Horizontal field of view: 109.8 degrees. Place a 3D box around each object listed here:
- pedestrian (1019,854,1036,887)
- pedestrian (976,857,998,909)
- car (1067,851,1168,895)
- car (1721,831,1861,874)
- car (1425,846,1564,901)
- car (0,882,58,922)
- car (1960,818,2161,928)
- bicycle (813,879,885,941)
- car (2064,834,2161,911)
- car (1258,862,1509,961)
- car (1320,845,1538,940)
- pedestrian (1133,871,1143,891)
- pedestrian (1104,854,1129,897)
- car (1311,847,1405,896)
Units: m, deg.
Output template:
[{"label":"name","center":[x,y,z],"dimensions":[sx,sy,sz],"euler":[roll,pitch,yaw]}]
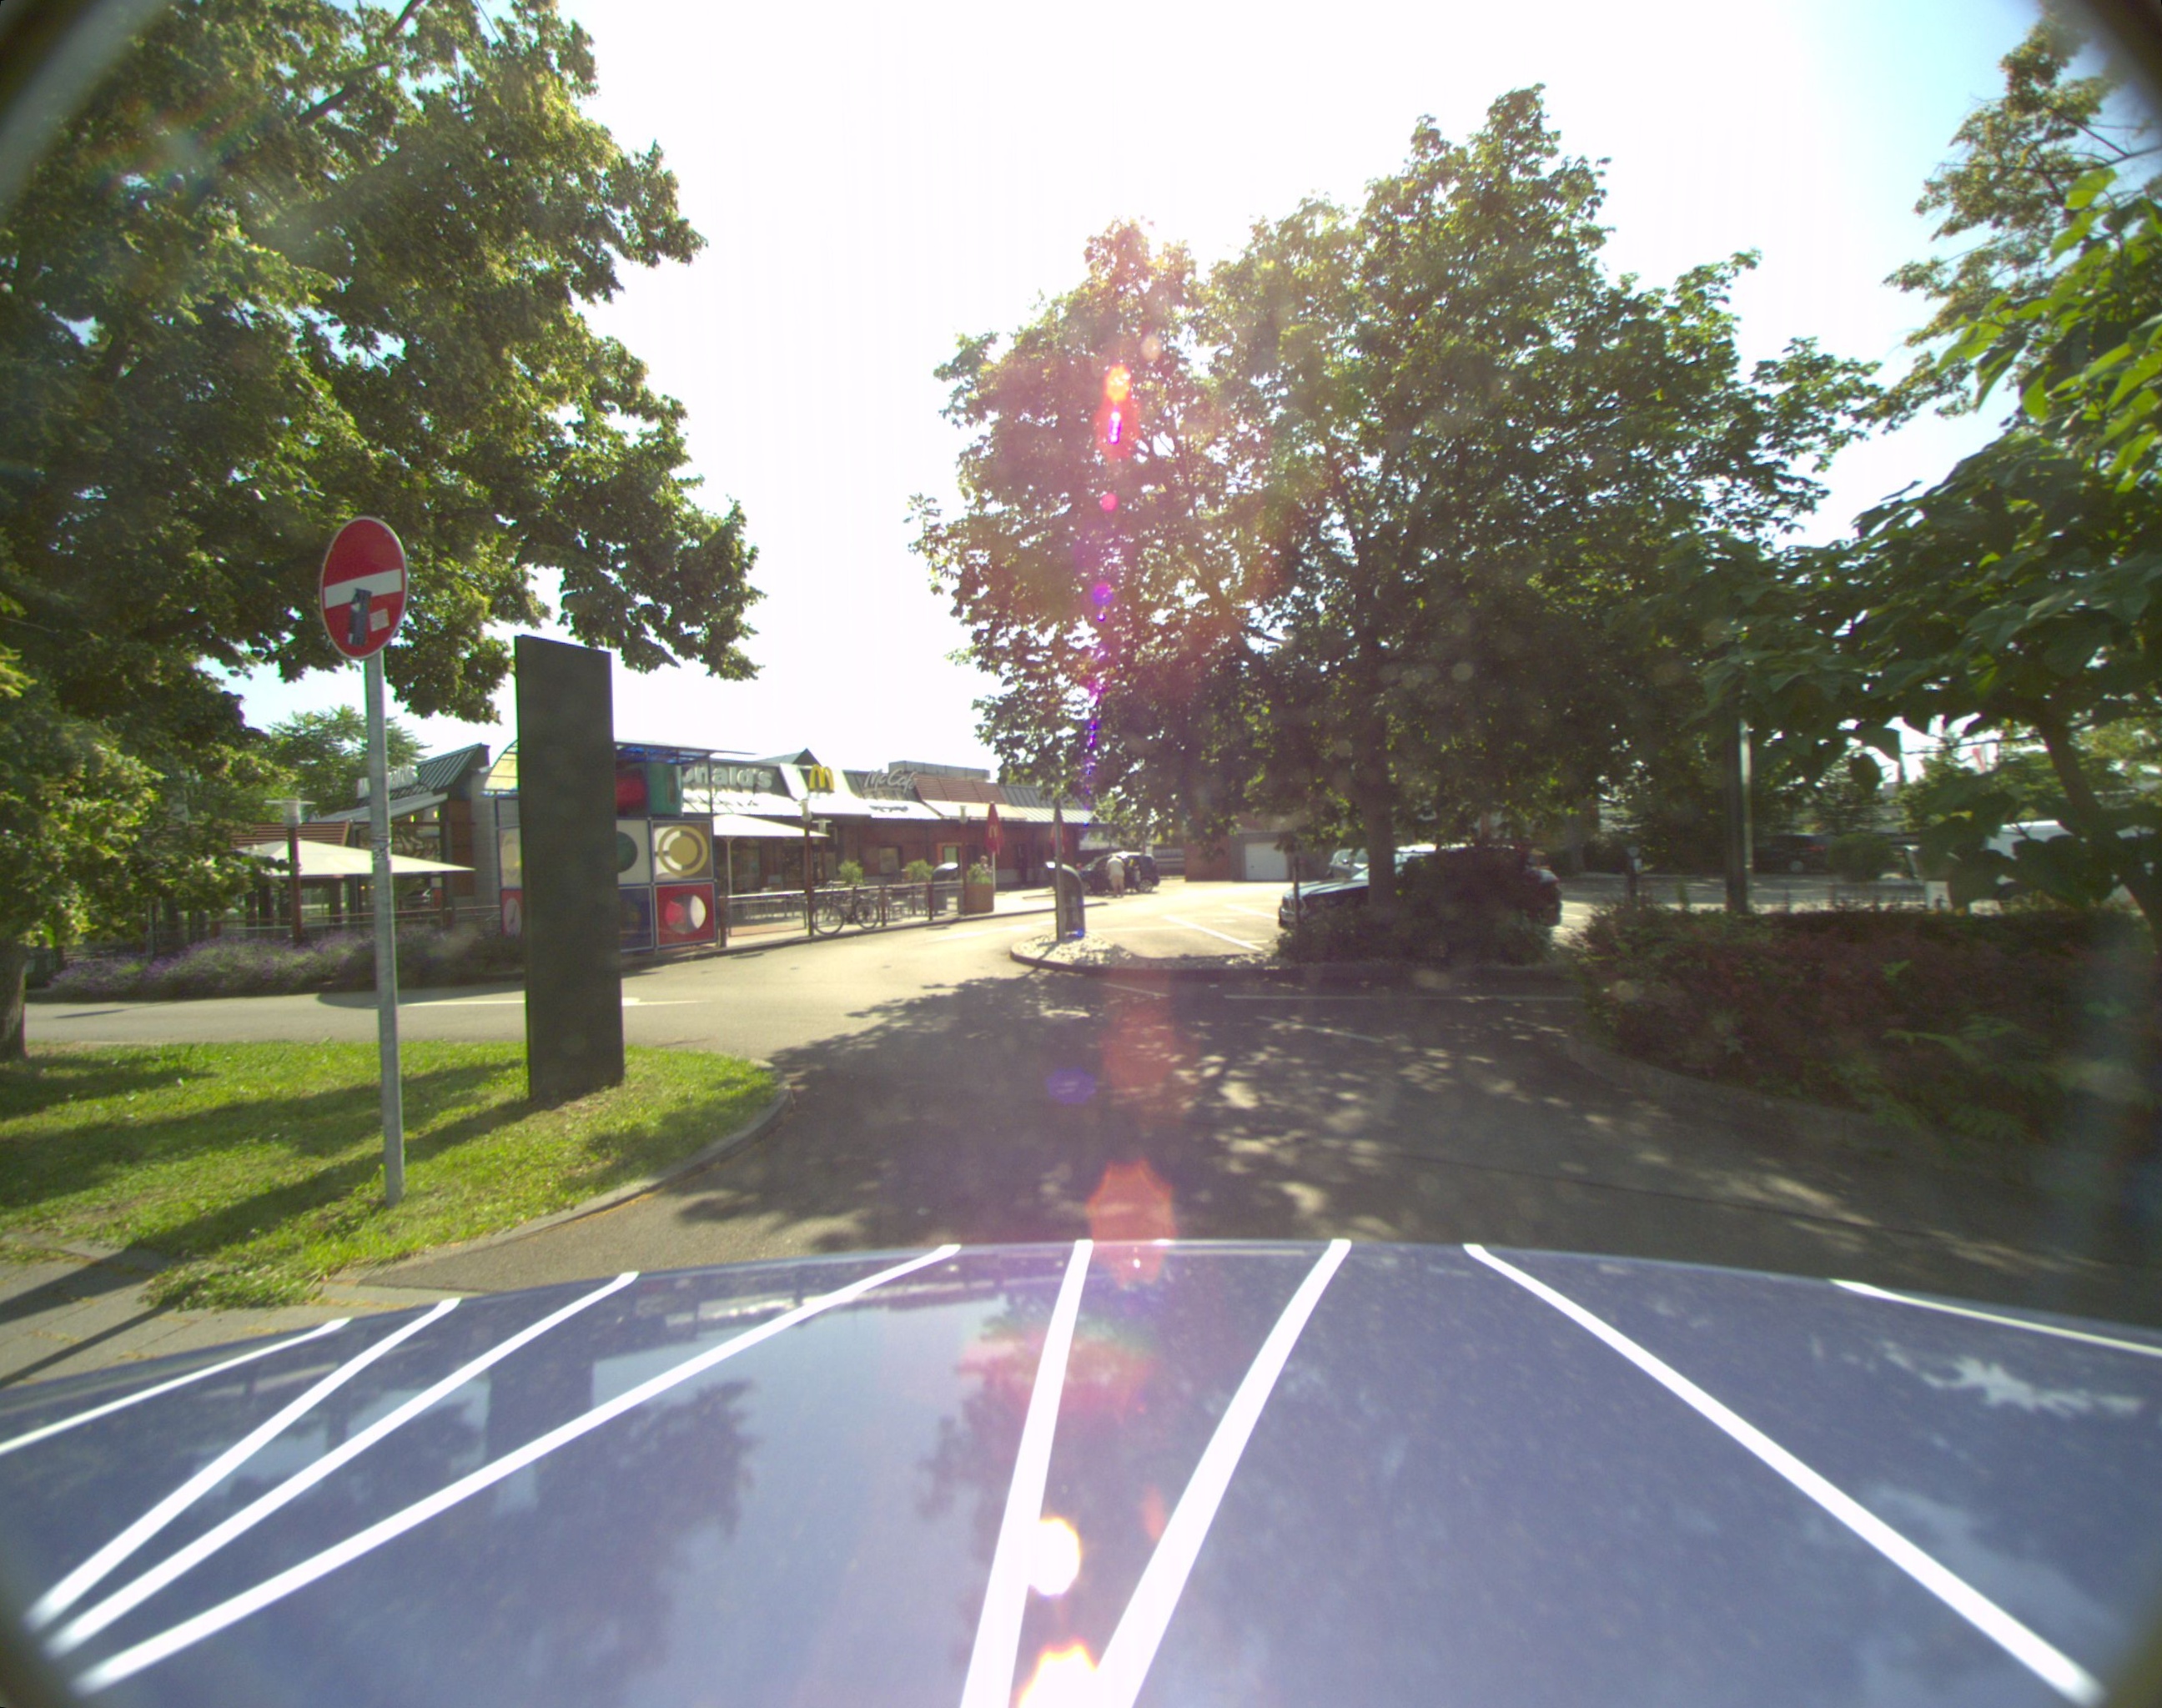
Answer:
[{"label":"pedestrian","center":[-2.738,0.836,38.952],"dimensions":[0.541,1.642,0.624],"euler":[-1,1,35]},{"label":"pedestrian","center":[-2.894,0.885,23.430],"dimensions":[0.597,1.558,0.571],"euler":[-2,1,-6]},{"label":"car","center":[1.465,0.755,31.770],"dimensions":[3.998,1.648,1.955],"euler":[-2,1,-4]},{"label":"car","center":[28.464,-0.071,30.649],"dimensions":[1.819,1.567,3.867],"euler":[-2,1,-6]},{"label":"car","center":[13.501,0.599,24.922],"dimensions":[3.723,1.623,1.667],"euler":[-2,1,-7]},{"label":"car","center":[-48.102,2.150,32.929],"dimensions":[1.826,1.617,4.379],"euler":[2,2,35]},{"label":"car","center":[18.716,0.292,13.090],"dimensions":[1.749,1.817,4.349],"euler":[-3,0,-12]},{"label":"bicycle","center":[-5.145,1.226,16.958],"dimensions":[0.309,1.180,1.615],"euler":[2,4,38]},{"label":"car","center":[23.517,0.386,15.492],"dimensions":[1.906,1.574,3.807],"euler":[-2,1,-10]},{"label":"car","center":[5.425,0.952,13.725],"dimensions":[4.002,1.485,1.654],"euler":[-2,0,-15]},{"label":"car","center":[7.622,0.765,16.722],"dimensions":[4.230,1.788,1.757],"euler":[-2,1,-16]},{"label":"pedestrian","center":[2.307,1.101,30.848],"dimensions":[0.364,0.775,0.335],"euler":[-2,1,-4]},{"label":"pedestrian","center":[1.377,0.841,29.795],"dimensions":[0.833,1.628,0.788],"euler":[-2,1,-4]},{"label":"car","center":[9.503,0.554,26.358],"dimensions":[1.620,1.523,3.610],"euler":[-2,1,-6]}]
